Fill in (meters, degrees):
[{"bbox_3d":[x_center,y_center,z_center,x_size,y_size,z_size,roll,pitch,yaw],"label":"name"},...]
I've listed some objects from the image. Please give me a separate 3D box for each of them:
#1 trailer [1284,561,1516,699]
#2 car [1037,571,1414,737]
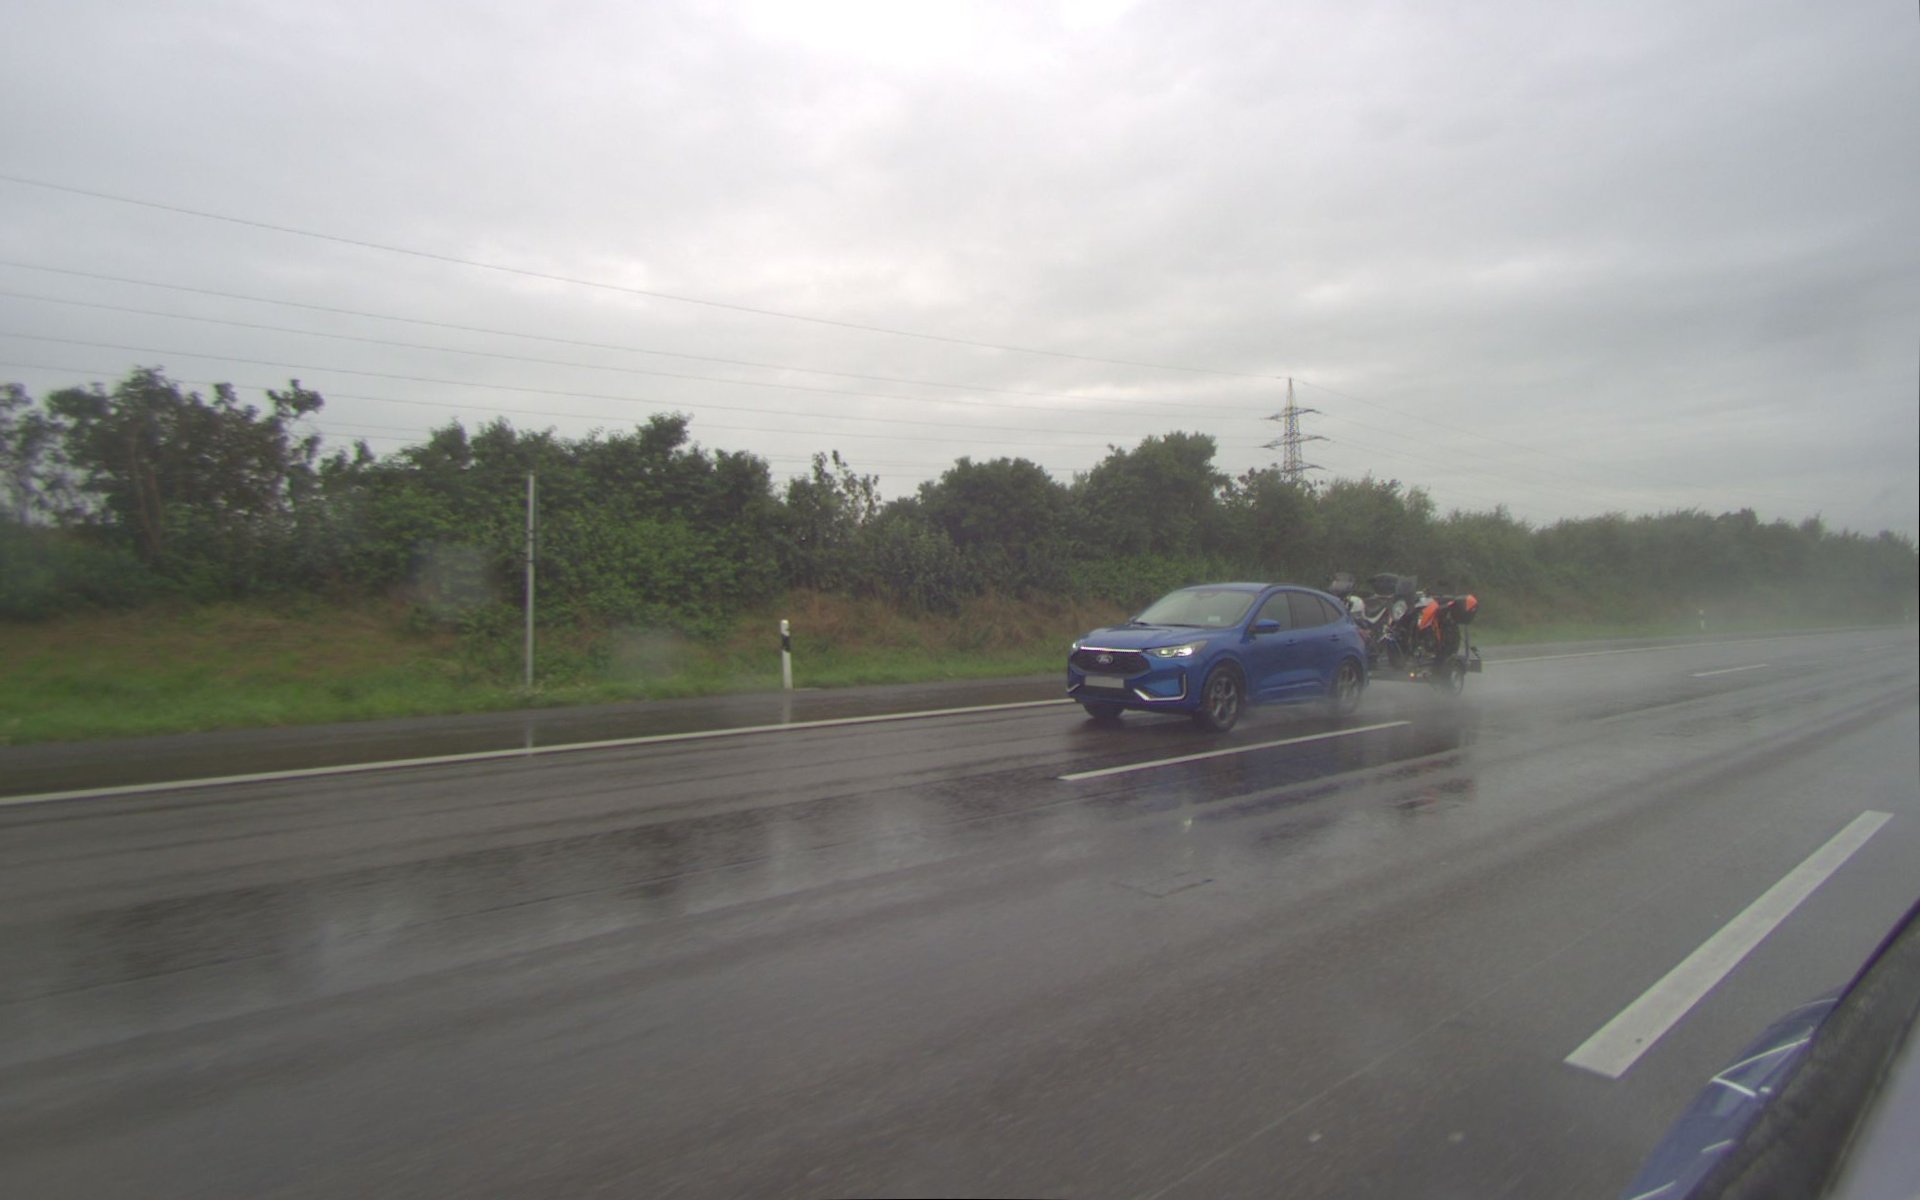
[{"bbox_3d":[6.548,0.371,15.001,3.132,1.807,1.983,0,1,-40],"label":"trailer"},{"bbox_3d":[3.395,0.509,12.373,4.903,1.639,1.998,0,1,-40],"label":"car"}]
